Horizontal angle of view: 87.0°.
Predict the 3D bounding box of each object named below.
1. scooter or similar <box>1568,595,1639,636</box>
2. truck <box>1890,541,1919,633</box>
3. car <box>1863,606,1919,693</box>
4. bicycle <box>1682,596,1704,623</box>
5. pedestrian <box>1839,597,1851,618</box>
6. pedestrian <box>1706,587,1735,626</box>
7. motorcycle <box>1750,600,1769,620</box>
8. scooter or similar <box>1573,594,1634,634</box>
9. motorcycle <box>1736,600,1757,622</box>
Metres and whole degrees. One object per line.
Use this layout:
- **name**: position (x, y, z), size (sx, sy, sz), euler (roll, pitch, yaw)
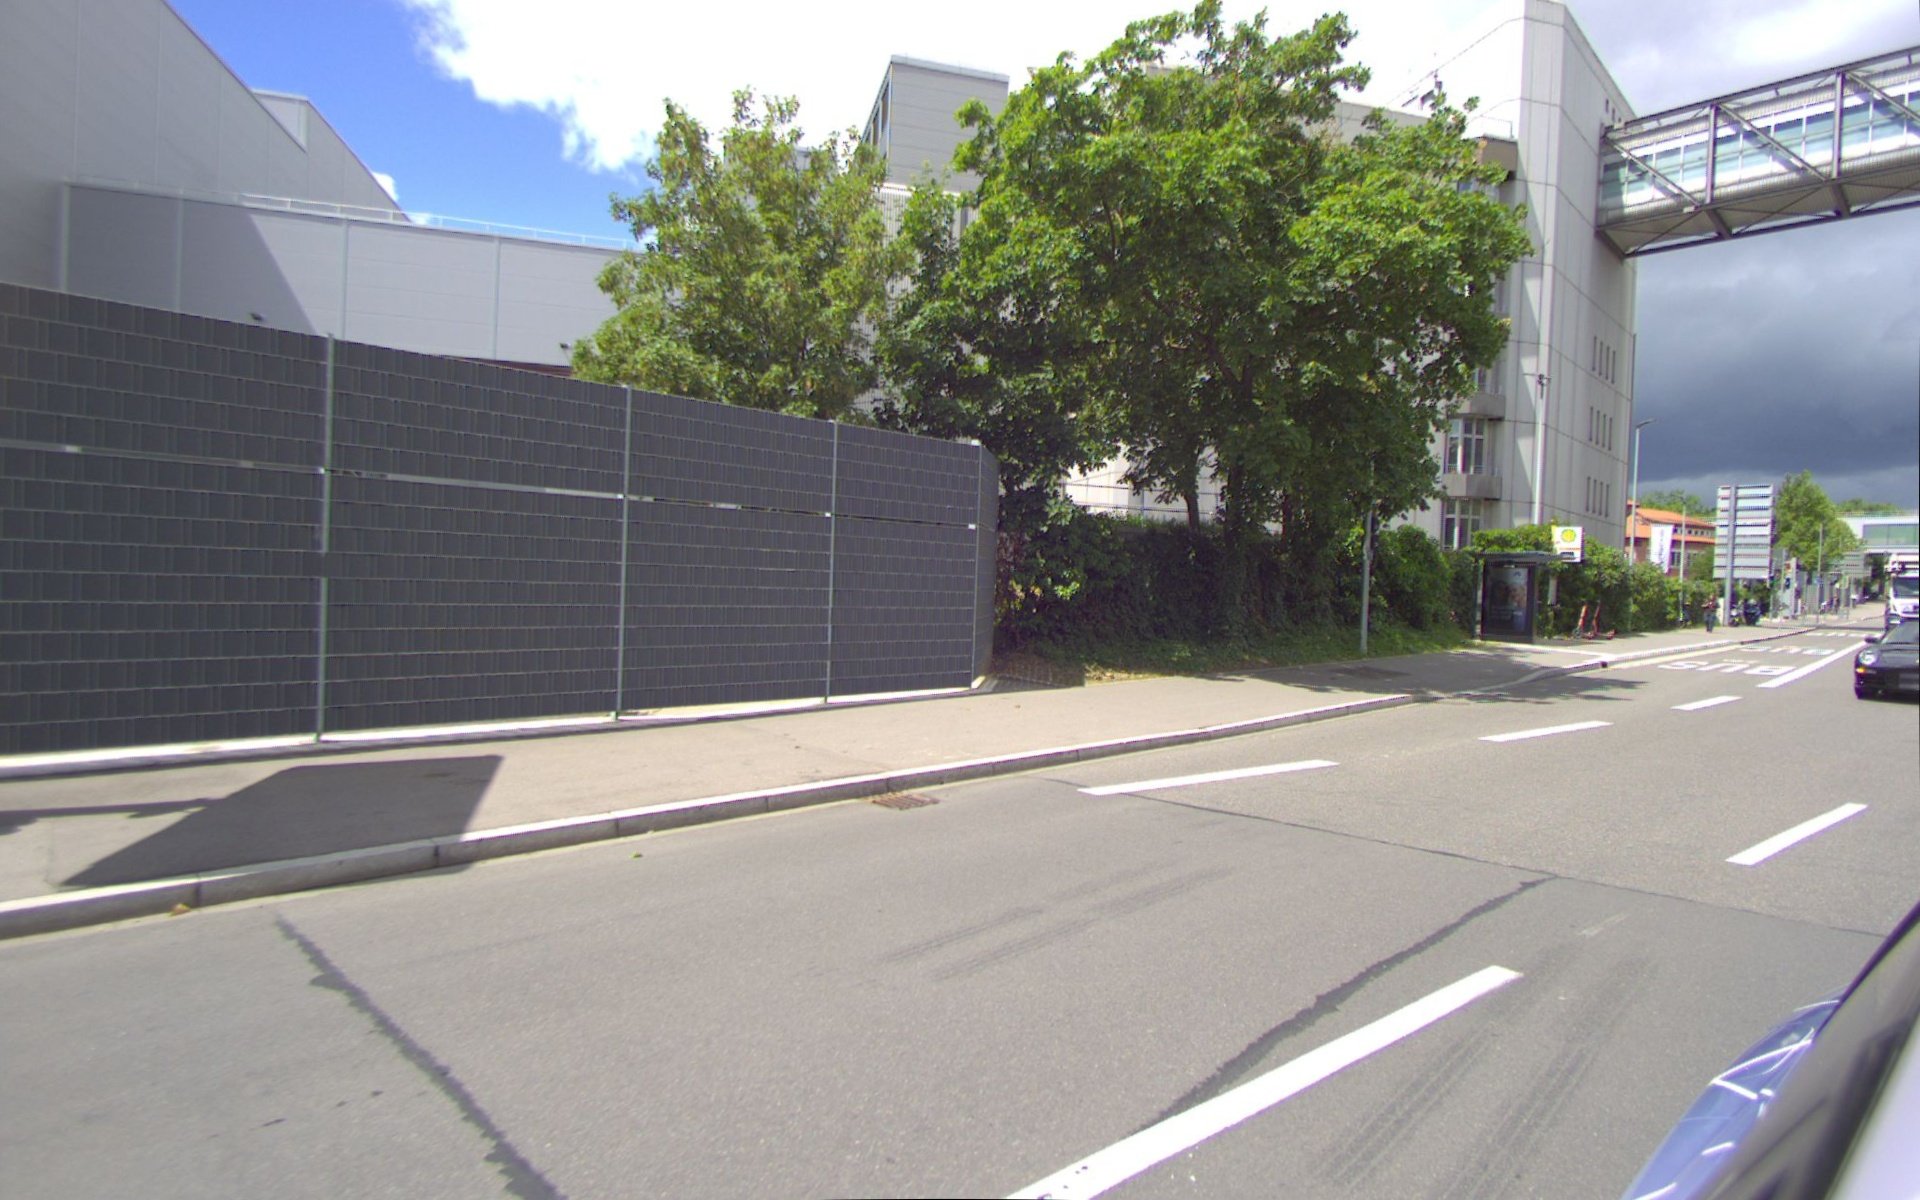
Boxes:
- **scooter or similar**: position (19.654, 0.470, 30.906), size (2.082, 1.177, 0.544), euler (2, 1, -17)
- **truck**: position (44.974, -0.563, 46.515), size (10.565, 3.934, 2.708), euler (0, 1, -45)
- **car**: position (16.472, 0.808, 16.690), size (3.929, 1.342, 1.838), euler (2, -1, -40)
- **bicycle**: position (33.878, 0.418, 46.754), size (2.428, 1.195, 0.443), euler (0, 1, -45)
- **pedestrian**: position (76.609, 0.649, 87.603), size (0.999, 1.788, 0.728), euler (0, 0, -44)
- **pedestrian**: position (33.199, 0.275, 44.176), size (0.810, 1.665, 0.982), euler (4, 3, 44)
- **motorcycle**: position (45.798, 0.564, 57.962), size (2.003, 1.080, 0.591), euler (1, 3, -45)
- **scooter or similar**: position (20.276, 0.449, 31.889), size (1.754, 1.177, 0.544), euler (2, 1, -17)
- **motorcycle**: position (41.649, 0.583, 53.567), size (2.003, 1.080, 0.591), euler (0, 3, -45)
